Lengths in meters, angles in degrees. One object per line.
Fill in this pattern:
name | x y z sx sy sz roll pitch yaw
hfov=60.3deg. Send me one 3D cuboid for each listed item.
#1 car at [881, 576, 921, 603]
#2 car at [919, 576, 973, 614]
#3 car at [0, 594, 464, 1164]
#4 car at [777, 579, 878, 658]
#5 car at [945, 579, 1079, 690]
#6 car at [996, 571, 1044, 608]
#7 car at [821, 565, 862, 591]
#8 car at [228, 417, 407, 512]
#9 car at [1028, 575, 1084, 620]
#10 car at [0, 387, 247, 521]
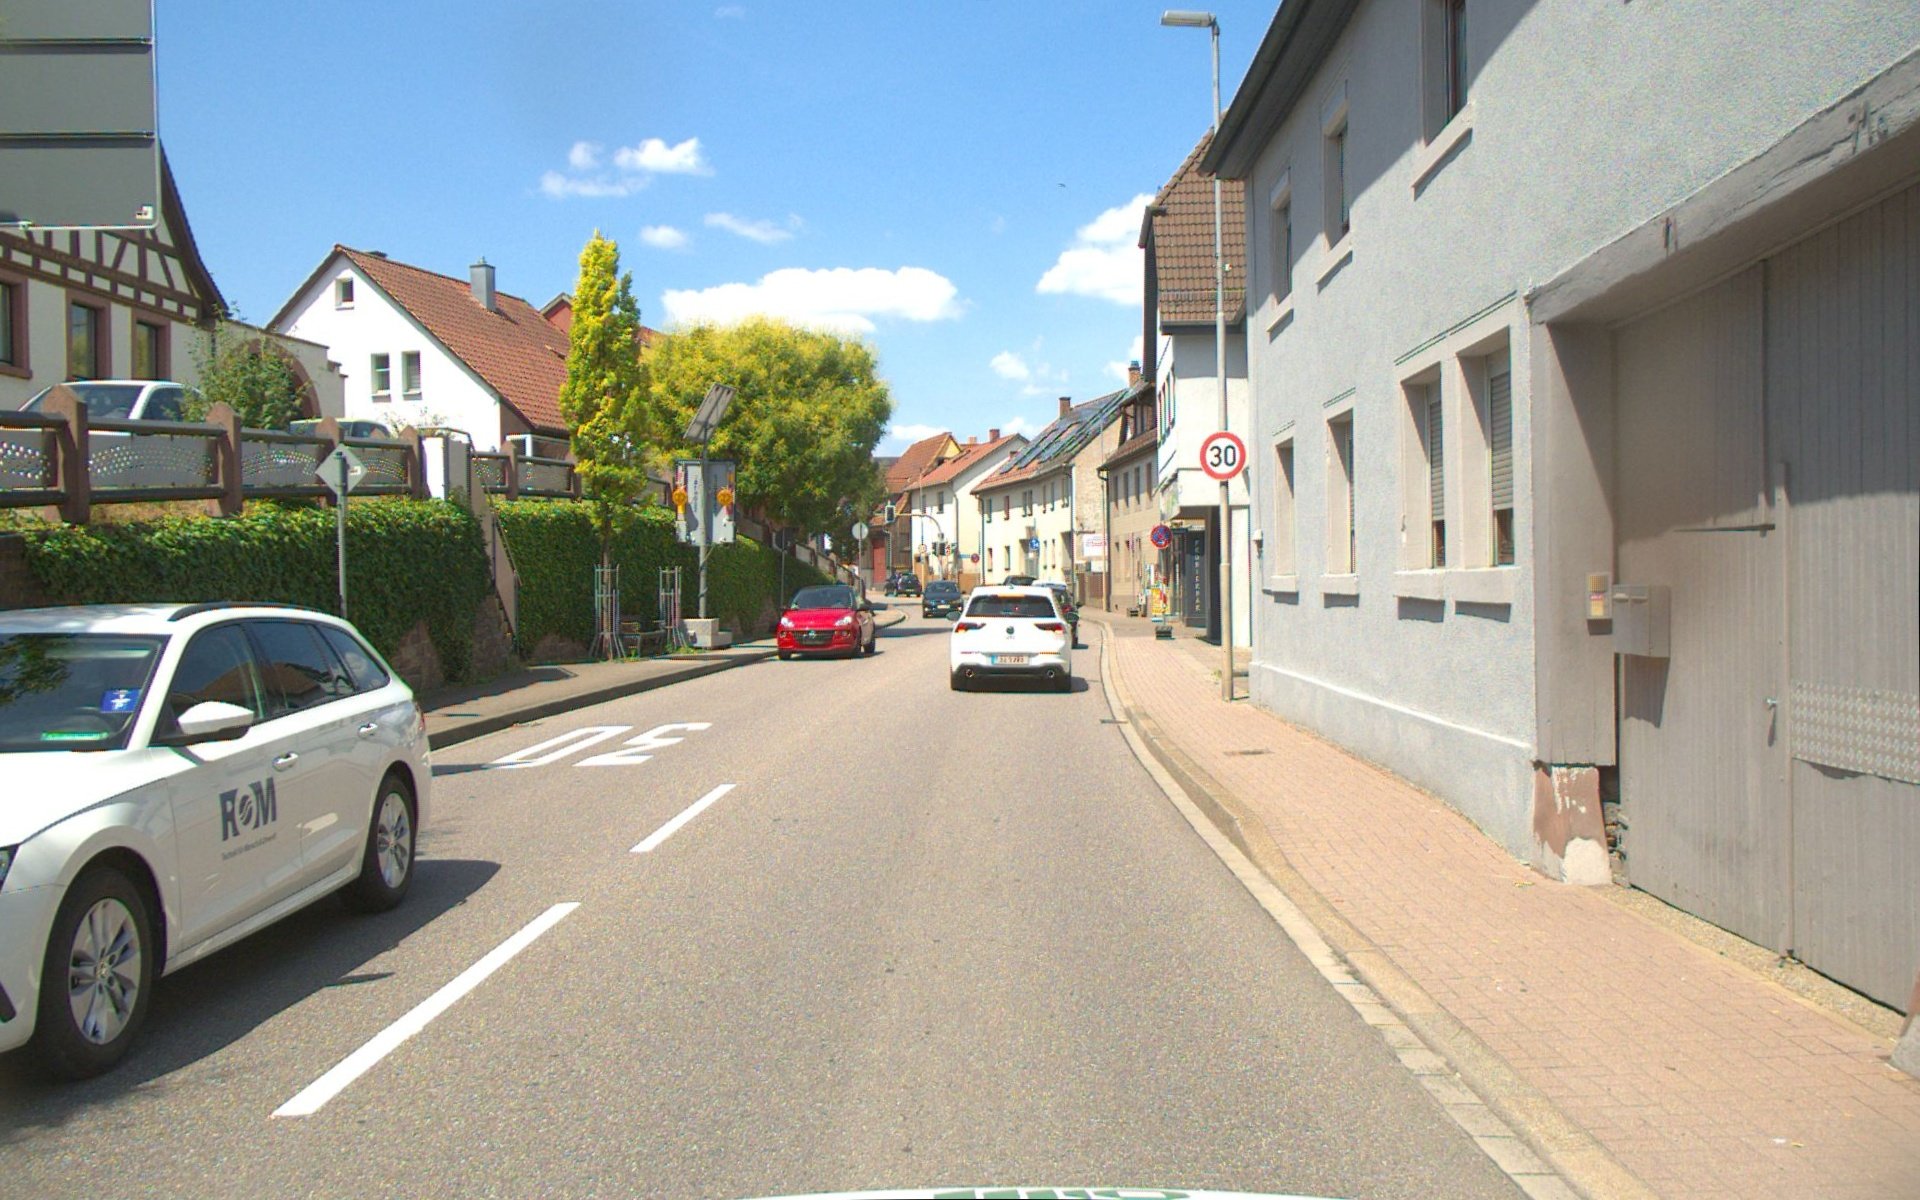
car | -3.710 -0.663 102.969 1.745 1.565 3.986 -1 1 -13
car | -0.537 -0.219 65.998 1.756 1.401 4.119 -1 1 5
car | -3.487 0.774 6.430 1.776 1.472 4.430 -3 1 -1
car | -2.720 0.343 34.733 1.583 1.469 3.803 -3 1 3
car | 0.690 0.453 24.481 1.771 1.493 3.999 0 0 -1
car | 2.673 -0.490 74.083 1.740 1.565 3.997 -1 1 -4
car | -8.360 -1.543 116.448 1.750 1.796 3.975 -1 1 -21
car | -10.390 -2.267 27.029 1.545 1.385 3.856 -1 7 -3
car | 3.297 -0.103 56.406 1.769 1.493 4.003 0 0 5
car | -9.870 -1.756 19.318 1.545 1.385 3.856 -1 7 -3
